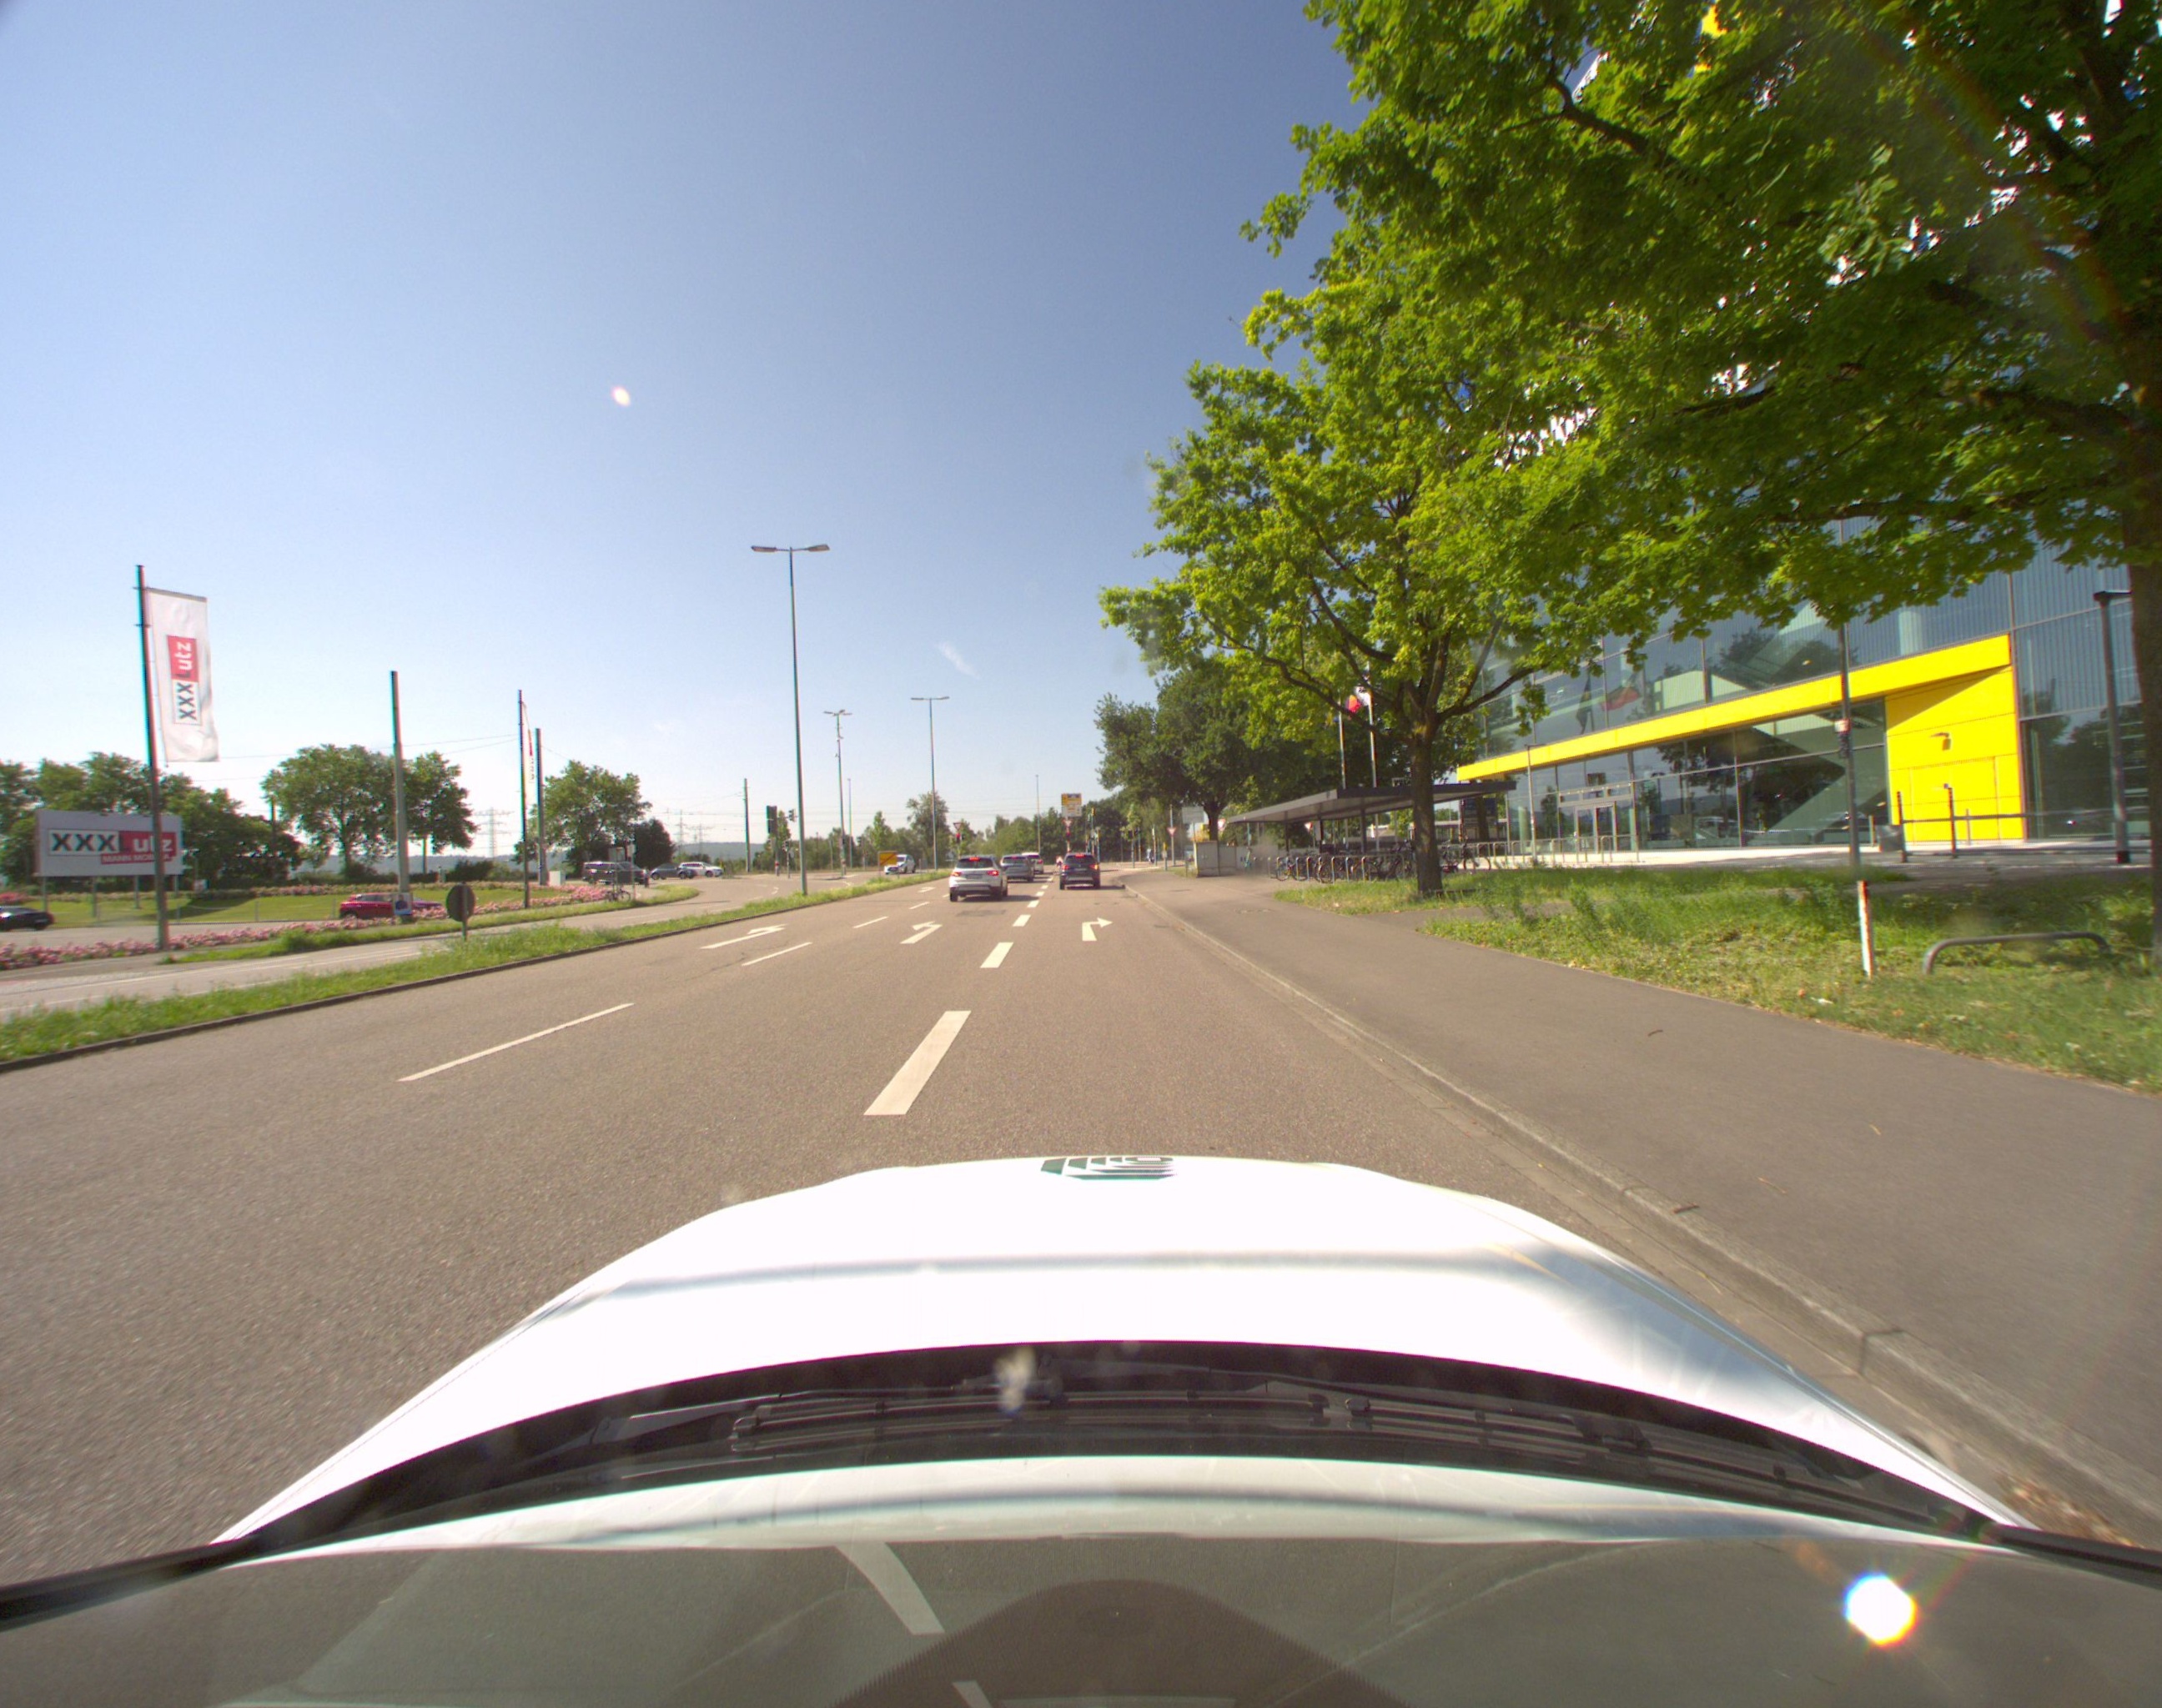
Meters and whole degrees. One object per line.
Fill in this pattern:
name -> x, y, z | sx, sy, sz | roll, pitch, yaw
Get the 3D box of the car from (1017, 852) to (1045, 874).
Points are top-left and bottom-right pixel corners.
car -> -3.585, 0.629, 58.551 | 1.736, 1.448, 4.387 | -2, 0, -1

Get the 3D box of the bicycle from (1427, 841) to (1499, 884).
bicycle -> 10.606, 0.235, 22.608 | 1.753, 1.096, 0.452 | -3, 0, -1

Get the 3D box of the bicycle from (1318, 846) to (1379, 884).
bicycle -> 8.438, 0.341, 25.715 | 1.753, 1.096, 0.452 | -3, 0, -1

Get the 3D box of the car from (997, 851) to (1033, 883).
car -> -3.482, 0.669, 43.589 | 1.702, 1.573, 4.171 | -1, 0, -2

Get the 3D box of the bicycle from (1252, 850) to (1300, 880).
bicycle -> 7.672, 0.418, 32.073 | 1.753, 1.096, 0.452 | -3, 0, -1

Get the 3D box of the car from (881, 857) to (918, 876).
car -> -15.565, 1.056, 70.074 | 1.784, 1.547, 4.094 | -2, -1, 6

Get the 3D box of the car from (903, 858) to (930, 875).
car -> -10.660, 0.771, 52.830 | 1.113, 1.004, 2.492 | -3, 0, 1

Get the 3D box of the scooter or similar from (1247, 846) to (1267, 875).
scooter or similar -> 7.965, 0.295, 36.947 | 0.775, 1.265, 0.283 | -3, 0, -4

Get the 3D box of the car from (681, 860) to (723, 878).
car -> -36.081, 1.450, 77.544 | 3.338, 1.500, 1.407 | -2, -2, -5

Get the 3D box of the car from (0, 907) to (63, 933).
car -> -61.031, 3.773, 46.335 | 3.837, 1.330, 1.727 | -2, -2, -2

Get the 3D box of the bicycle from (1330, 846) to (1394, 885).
bicycle -> 8.538, 0.345, 24.788 | 1.753, 1.096, 0.452 | -3, 0, -1

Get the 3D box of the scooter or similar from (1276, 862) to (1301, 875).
scooter or similar -> 8.915, 0.619, 34.992 | 0.908, 0.451, 0.966 | -4, -2, 19

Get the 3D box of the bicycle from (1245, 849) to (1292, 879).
bicycle -> 7.618, 0.400, 33.072 | 1.752, 1.096, 0.452 | -3, 0, 1

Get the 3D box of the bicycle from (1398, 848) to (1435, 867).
bicycle -> 16.061, 0.153, 38.980 | 1.557, 0.843, 0.433 | -2, 0, -1

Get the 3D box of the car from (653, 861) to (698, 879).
car -> -36.978, 1.428, 74.285 | 3.378, 1.500, 1.408 | -2, -2, -4

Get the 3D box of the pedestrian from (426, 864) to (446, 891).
pedestrian -> -48.136, 1.739, 60.794 | 0.713, 1.972, 0.919 | -2, -2, 4

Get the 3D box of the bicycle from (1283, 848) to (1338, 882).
bicycle -> 8.022, 0.369, 28.473 | 1.753, 1.096, 0.452 | -3, 0, -1

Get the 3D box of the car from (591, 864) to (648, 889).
car -> -37.427, 1.843, 66.020 | 3.953, 1.925, 1.826 | -1, 1, 20

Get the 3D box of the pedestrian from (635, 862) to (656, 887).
pedestrian -> -31.184, 1.490, 58.347 | 0.834, 1.707, 0.908 | -3, 0, 11

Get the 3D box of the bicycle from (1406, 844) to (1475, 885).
bicycle -> 10.433, 0.291, 23.667 | 1.753, 1.096, 0.452 | -3, 0, -1

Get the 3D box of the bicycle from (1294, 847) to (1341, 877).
bicycle -> 9.642, 0.319, 33.228 | 1.753, 1.096, 0.452 | -3, 0, -1

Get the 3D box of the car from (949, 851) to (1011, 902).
car -> -3.407, 0.721, 28.097 | 1.625, 1.498, 3.870 | -2, 2, 0

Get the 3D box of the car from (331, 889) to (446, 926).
car -> -35.788, 2.747, 42.173 | 4.177, 1.605, 1.823 | -2, -2, -6

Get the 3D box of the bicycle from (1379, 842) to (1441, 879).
bicycle -> 10.448, 0.200, 25.857 | 1.753, 1.096, 0.452 | -3, 0, -1

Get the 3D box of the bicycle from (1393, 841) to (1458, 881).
bicycle -> 10.465, 0.213, 24.734 | 1.753, 1.096, 0.452 | -3, 0, -1

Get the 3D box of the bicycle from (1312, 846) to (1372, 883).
bicycle -> 8.411, 0.346, 26.242 | 1.753, 1.096, 0.452 | -3, 0, -1

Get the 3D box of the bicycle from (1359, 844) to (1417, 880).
bicycle -> 10.277, 0.267, 27.289 | 1.753, 1.096, 0.452 | -3, 0, -1

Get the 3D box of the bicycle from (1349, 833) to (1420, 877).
bicycle -> 8.350, 0.034, 22.439 | 1.753, 1.096, 0.452 | -3, 0, -1

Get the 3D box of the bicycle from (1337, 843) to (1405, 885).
bicycle -> 8.348, 0.281, 23.473 | 1.753, 1.096, 0.463 | -3, 0, -1

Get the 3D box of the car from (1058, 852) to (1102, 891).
car -> -0.087, 0.725, 34.926 | 1.666, 1.523, 3.373 | -2, 0, -3

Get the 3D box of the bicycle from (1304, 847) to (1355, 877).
bicycle -> 9.758, 0.319, 32.031 | 1.823, 1.096, 0.452 | -3, 0, -1

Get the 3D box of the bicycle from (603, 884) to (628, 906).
bicycle -> -22.888, 2.022, 40.072 | 0.330, 1.023, 1.641 | -4, -2, -4

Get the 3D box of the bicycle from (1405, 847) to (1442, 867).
bicycle -> 16.034, 0.130, 38.128 | 1.556, 0.843, 0.434 | -2, 0, 0

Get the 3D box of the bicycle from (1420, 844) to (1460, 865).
bicycle -> 16.060, 0.013, 36.448 | 1.556, 0.843, 0.434 | -2, 0, 0

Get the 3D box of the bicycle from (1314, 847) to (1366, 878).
bicycle -> 9.748, 0.316, 30.653 | 1.753, 1.096, 0.452 | -3, 0, -1

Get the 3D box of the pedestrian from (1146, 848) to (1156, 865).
pedestrian -> 6.424, 0.216, 74.374 | 0.768, 1.510, 1.010 | -3, 1, 10

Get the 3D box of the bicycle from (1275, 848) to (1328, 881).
bicycle -> 8.014, 0.384, 29.660 | 1.753, 1.096, 0.452 | -3, 0, -1

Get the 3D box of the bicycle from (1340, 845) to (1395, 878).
bicycle -> 10.245, 0.272, 29.152 | 1.753, 1.096, 0.452 | -3, 0, -1
